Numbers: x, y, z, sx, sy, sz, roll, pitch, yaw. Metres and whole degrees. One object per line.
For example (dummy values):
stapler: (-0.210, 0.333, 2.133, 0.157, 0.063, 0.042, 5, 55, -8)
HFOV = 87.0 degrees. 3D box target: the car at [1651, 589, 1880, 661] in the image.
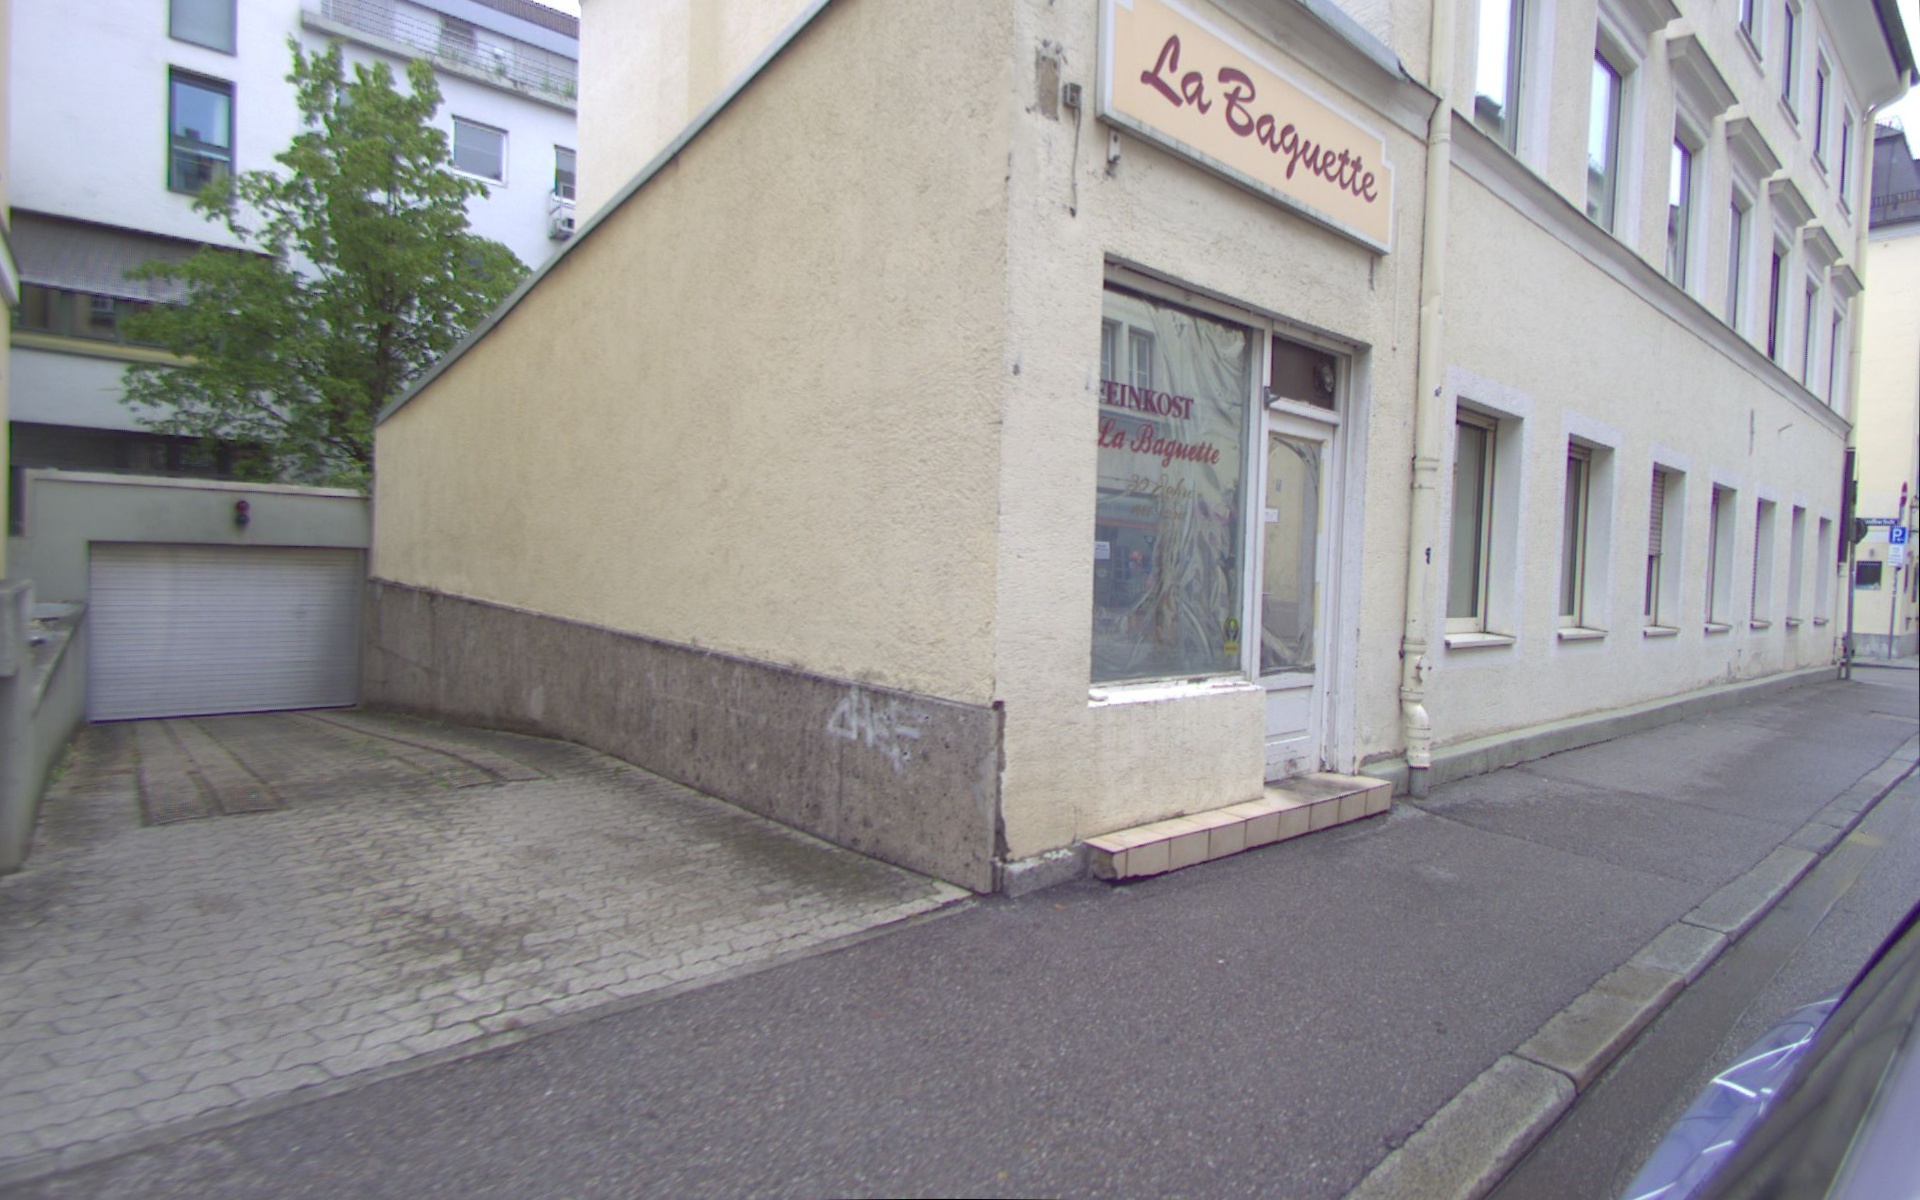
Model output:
car: (19.360, 0.576, 24.465, 1.732, 1.459, 4.025, 3, 0, -39)
